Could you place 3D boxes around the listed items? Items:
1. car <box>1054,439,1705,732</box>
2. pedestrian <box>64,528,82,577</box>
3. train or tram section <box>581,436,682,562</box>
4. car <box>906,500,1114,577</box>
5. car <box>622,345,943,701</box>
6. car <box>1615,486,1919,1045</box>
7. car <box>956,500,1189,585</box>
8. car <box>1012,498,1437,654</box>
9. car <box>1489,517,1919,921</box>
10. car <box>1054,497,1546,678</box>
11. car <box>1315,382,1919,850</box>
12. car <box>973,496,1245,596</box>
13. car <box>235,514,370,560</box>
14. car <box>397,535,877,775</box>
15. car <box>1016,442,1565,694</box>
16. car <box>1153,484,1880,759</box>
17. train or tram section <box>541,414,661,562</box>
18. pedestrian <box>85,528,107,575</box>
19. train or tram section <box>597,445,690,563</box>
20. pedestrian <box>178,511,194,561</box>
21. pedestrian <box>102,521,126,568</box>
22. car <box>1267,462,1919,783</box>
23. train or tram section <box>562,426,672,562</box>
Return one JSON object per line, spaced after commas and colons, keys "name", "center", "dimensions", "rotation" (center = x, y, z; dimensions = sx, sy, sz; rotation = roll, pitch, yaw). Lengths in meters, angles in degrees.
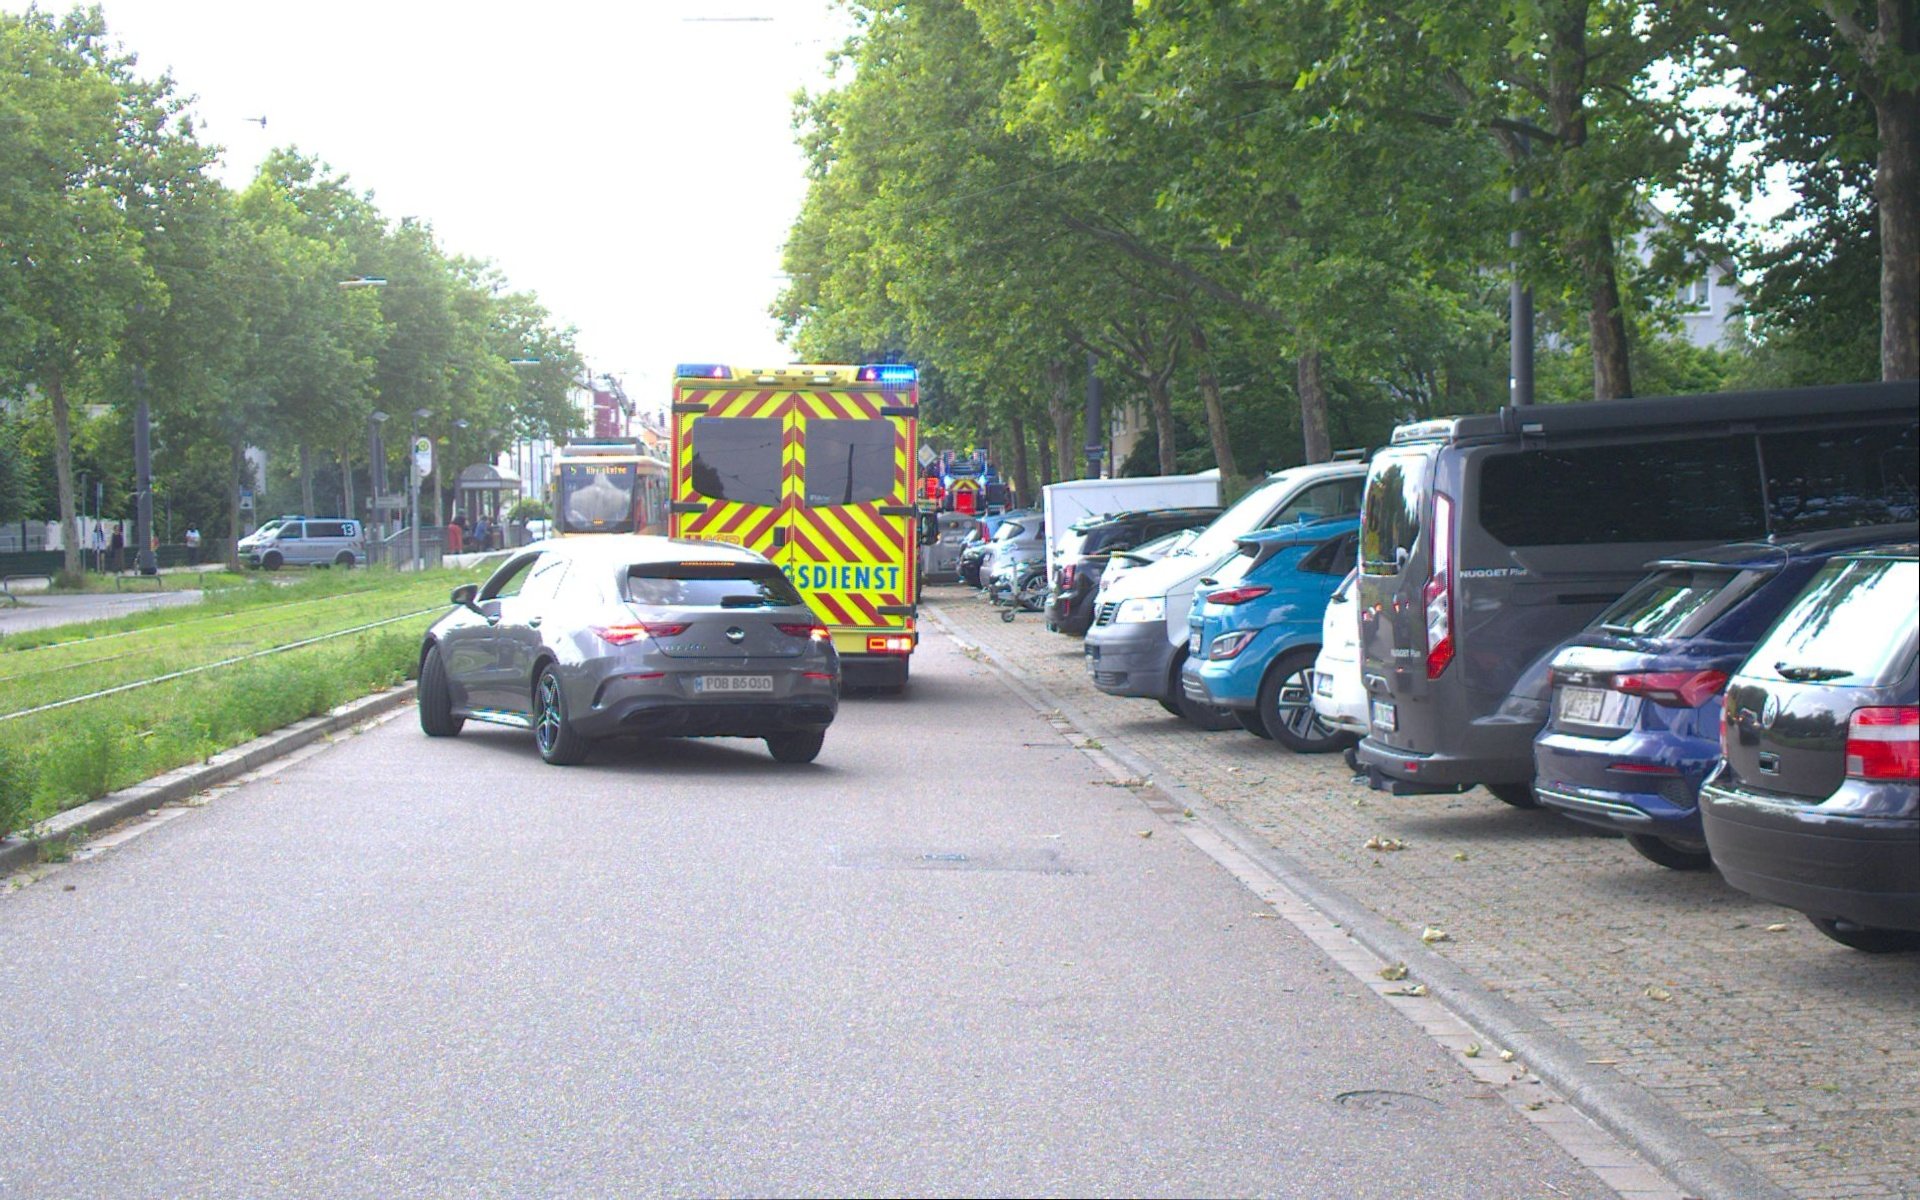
{"name": "car", "center": [3.115, -0.133, 26.062], "dimensions": [4.545, 1.994, 1.856], "rotation": [-2, 1, -6]}
{"name": "pedestrian", "center": [-26.479, -1.415, 102.663], "dimensions": [0.421, 1.468, 0.467], "rotation": [-1, 1, -7]}
{"name": "train or tram section", "center": [-9.853, -2.968, 103.682], "dimensions": [2.511, 3.572, 7.446], "rotation": [-2, 1, -2]}
{"name": "car", "center": [1.127, -1.421, 78.889], "dimensions": [4.545, 1.603, 1.856], "rotation": [-2, 1, -6]}
{"name": "car", "center": [-1.553, -0.720, 32.544], "dimensions": [2.641, 2.956, 6.300], "rotation": [2, 1, -1]}
{"name": "car", "center": [4.349, 0.394, 11.144], "dimensions": [3.964, 1.600, 1.757], "rotation": [-2, 1, -12]}
{"name": "car", "center": [2.289, -1.190, 70.685], "dimensions": [4.545, 1.603, 1.856], "rotation": [-2, 1, -6]}
{"name": "car", "center": [2.981, -0.291, 39.289], "dimensions": [4.545, 1.603, 1.856], "rotation": [-2, 1, -6]}
{"name": "car", "center": [4.315, 0.396, 13.999], "dimensions": [3.965, 1.489, 1.756], "rotation": [-2, 1, -2]}
{"name": "car", "center": [3.326, -0.147, 34.141], "dimensions": [4.545, 1.603, 1.856], "rotation": [-2, 1, -6]}
{"name": "car", "center": [4.191, 0.019, 17.104], "dimensions": [4.545, 2.116, 1.856], "rotation": [-2, 1, -2]}
{"name": "car", "center": [2.603, -0.960, 60.840], "dimensions": [4.545, 1.603, 1.856], "rotation": [-2, 1, -6]}
{"name": "car", "center": [-24.661, -2.352, 129.018], "dimensions": [4.615, 1.627, 1.882], "rotation": [-2, 2, -41]}
{"name": "car", "center": [-2.260, 0.295, 22.821], "dimensions": [1.760, 1.381, 4.469], "rotation": [1, 1, -25]}
{"name": "car", "center": [2.892, -0.303, 30.651], "dimensions": [4.545, 2.036, 1.856], "rotation": [-2, 1, -6]}
{"name": "car", "center": [3.742, 0.111, 23.547], "dimensions": [4.545, 1.654, 1.856], "rotation": [-2, 1, -6]}
{"name": "train or tram section", "center": [-9.203, -2.811, 88.816], "dimensions": [2.511, 3.572, 7.446], "rotation": [-2, 1, -2]}
{"name": "pedestrian", "center": [-26.276, -1.474, 104.546], "dimensions": [0.422, 1.409, 0.467], "rotation": [0, 1, 23]}
{"name": "train or tram section", "center": [-10.167, -3.046, 111.119], "dimensions": [2.511, 3.572, 7.446], "rotation": [-2, 1, -2]}
{"name": "pedestrian", "center": [-28.490, -2.357, 126.587], "dimensions": [0.466, 1.822, 0.423], "rotation": [-1, 1, -4]}
{"name": "pedestrian", "center": [-27.978, -1.831, 113.722], "dimensions": [0.632, 1.545, 0.622], "rotation": [-1, 1, -1]}
{"name": "car", "center": [4.286, 0.091, 21.027], "dimensions": [4.545, 1.760, 1.856], "rotation": [-2, 1, -2]}
{"name": "train or tram section", "center": [-9.532, -2.890, 96.242], "dimensions": [2.511, 3.572, 7.446], "rotation": [-2, 1, -2]}
